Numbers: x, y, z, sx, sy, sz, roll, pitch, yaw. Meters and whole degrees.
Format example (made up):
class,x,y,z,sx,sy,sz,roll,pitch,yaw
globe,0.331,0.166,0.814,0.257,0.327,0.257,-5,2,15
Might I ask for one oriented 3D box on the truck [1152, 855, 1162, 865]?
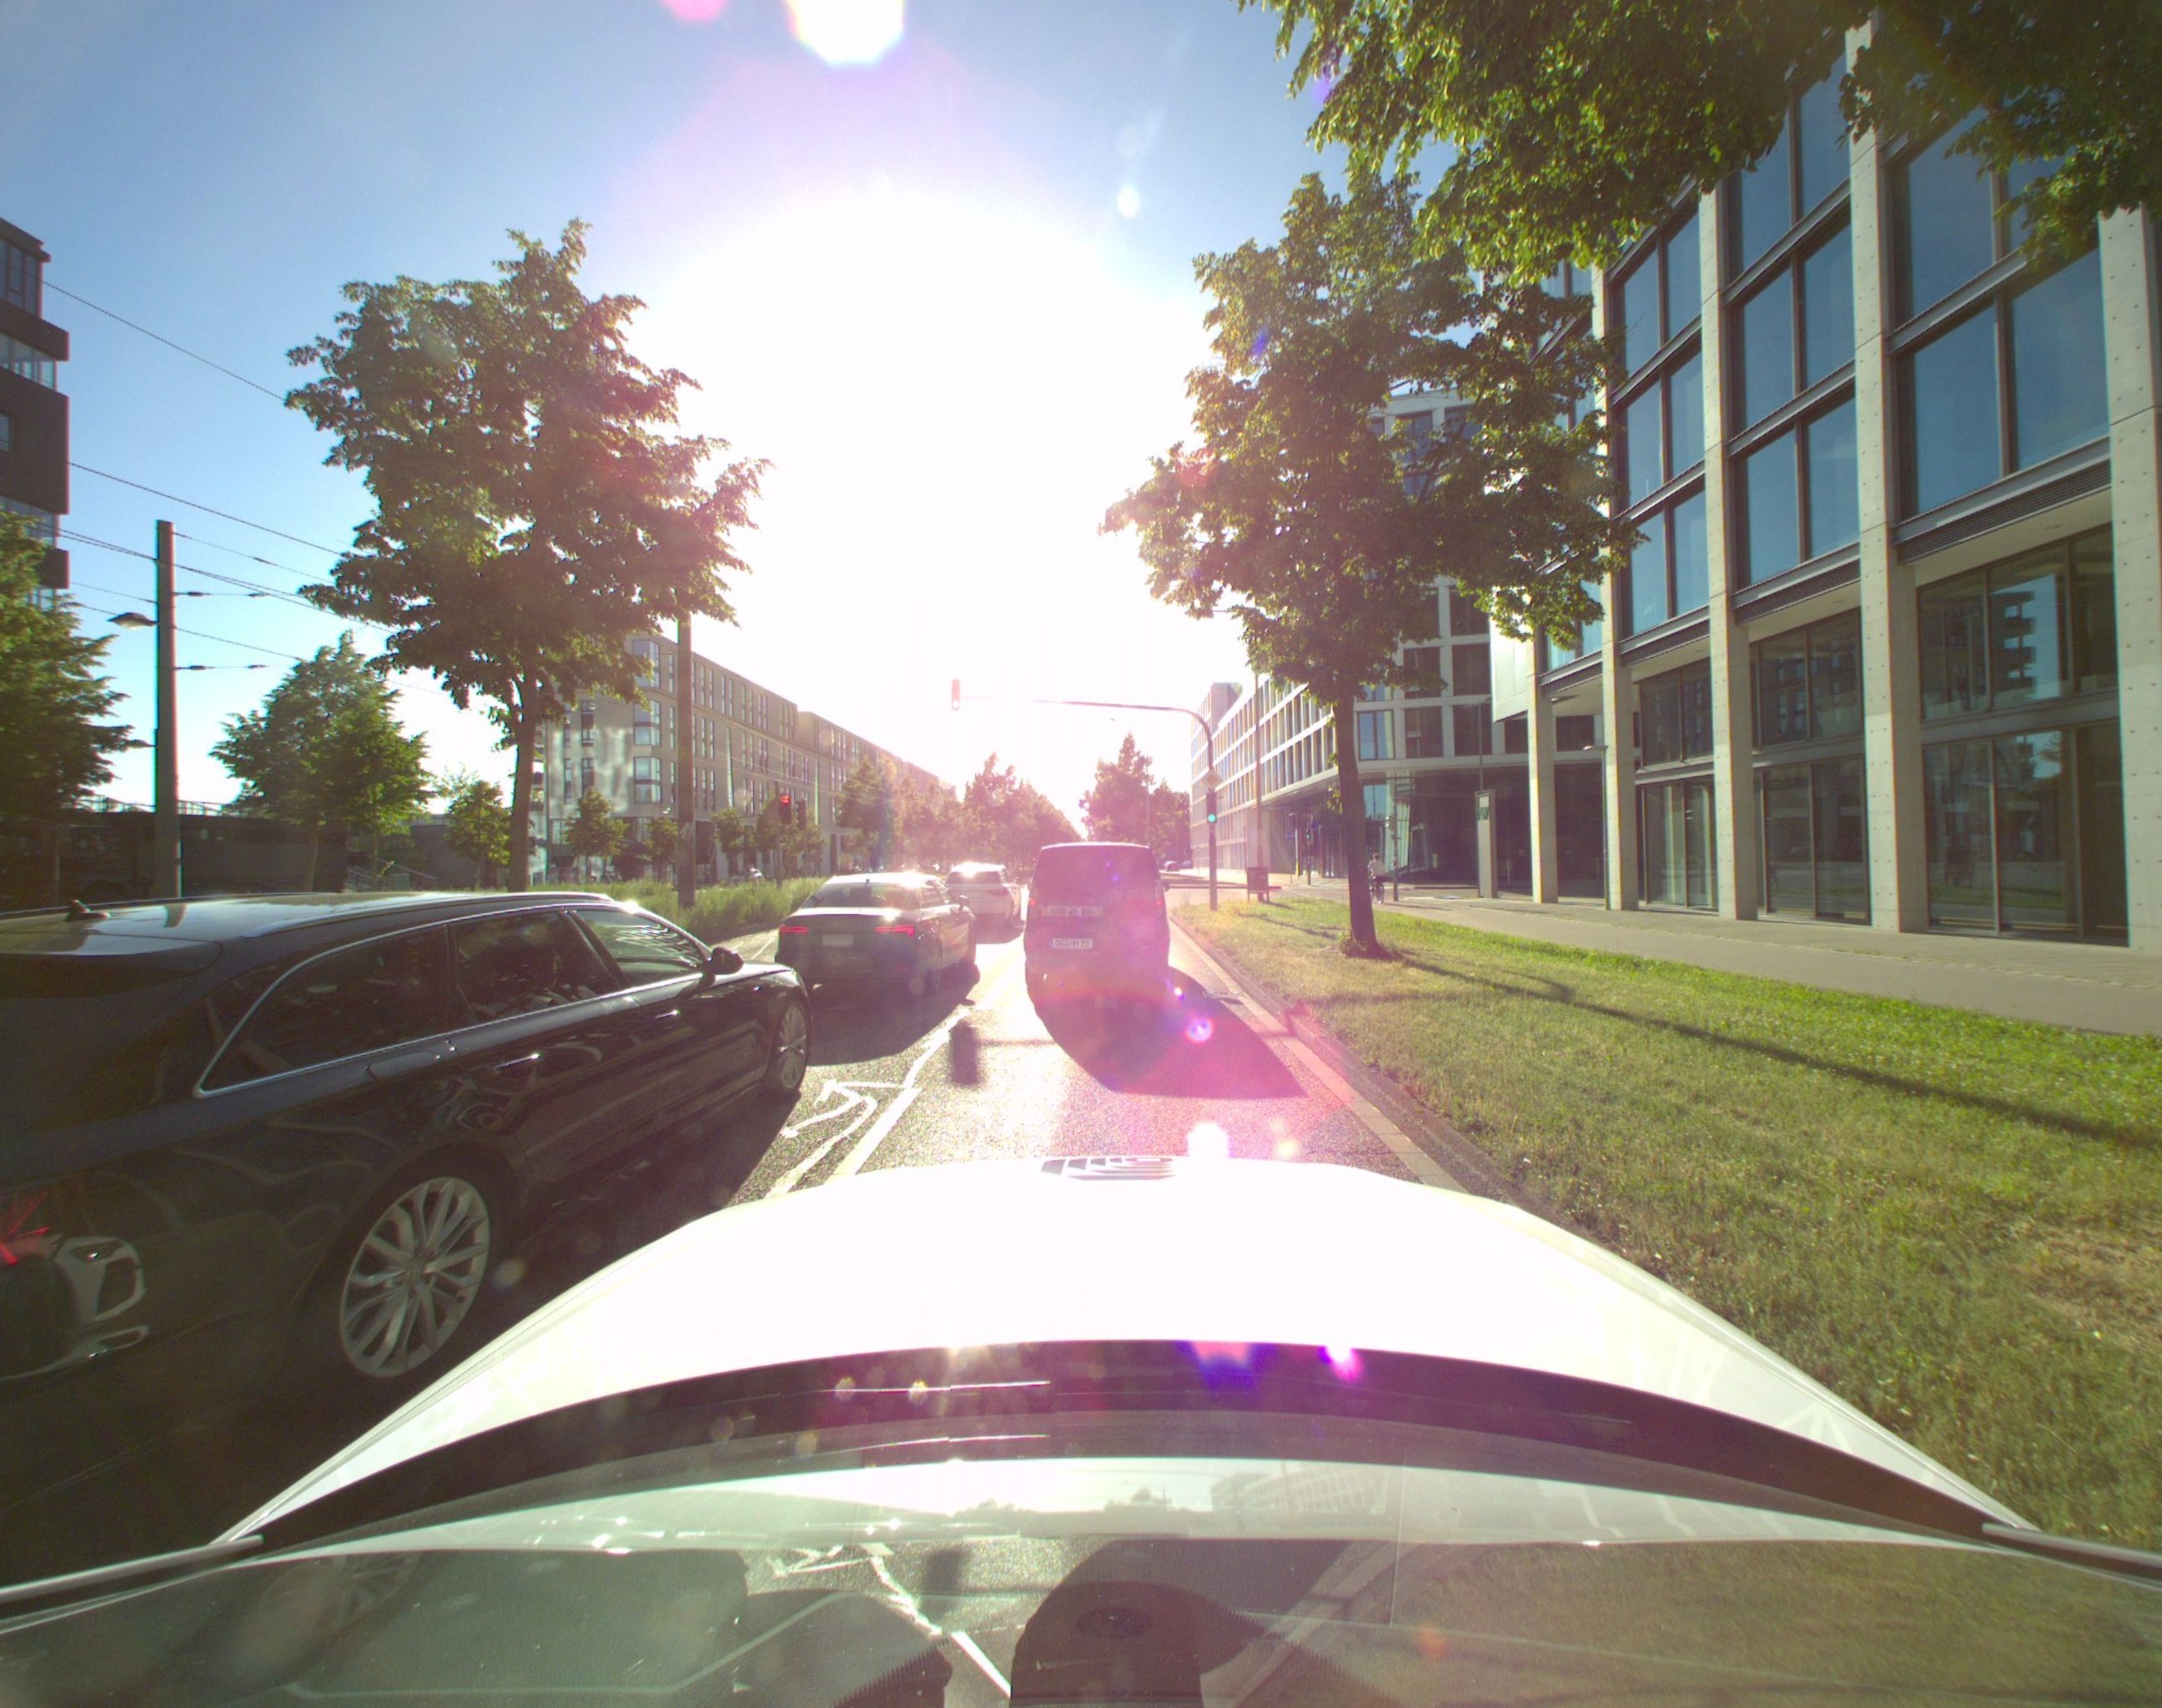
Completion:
class,x,y,z,sx,sy,sz,roll,pitch,yaw
truck,18.364,1.442,196.645,1.825,2.501,5.933,-1,-1,1

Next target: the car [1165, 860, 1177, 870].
class,x,y,z,sx,sy,sz,roll,pitch,yaw
car,14.452,1.799,131.040,1.811,1.532,3.442,-1,-1,5

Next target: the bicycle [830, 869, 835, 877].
class,x,y,z,sx,sy,sz,roll,pitch,yaw
bicycle,-36.001,2.790,117.991,0.528,1.111,1.632,0,-1,-9

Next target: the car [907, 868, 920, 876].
class,x,y,z,sx,sy,sz,roll,pitch,yaw
car,-30.490,3.244,148.480,1.574,1.342,3.713,-1,-1,1

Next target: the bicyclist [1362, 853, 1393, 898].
class,x,y,z,sx,sy,sz,roll,pitch,yaw
bicyclist,10.465,0.754,28.787,0.768,1.531,0.850,-2,-1,1

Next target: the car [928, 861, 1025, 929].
class,x,y,z,sx,sy,sz,roll,pitch,yaw
car,-2.404,0.899,19.688,1.802,1.434,4.111,-1,0,-1

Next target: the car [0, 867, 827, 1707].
class,x,y,z,sx,sy,sz,roll,pitch,yaw
car,-2.783,0.827,3.551,1.801,1.457,4.509,-1,0,2

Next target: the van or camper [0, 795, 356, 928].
class,x,y,z,sx,sy,sz,roll,pitch,yaw
van or camper,-33.579,0.305,30.902,2.743,4.192,10.233,-1,-1,2

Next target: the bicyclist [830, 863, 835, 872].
class,x,y,z,sx,sy,sz,roll,pitch,yaw
bicyclist,-35.992,2.001,117.995,0.578,1.293,0.703,0,-1,-9

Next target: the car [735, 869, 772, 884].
class,x,y,z,sx,sy,sz,roll,pitch,yaw
car,-31.099,2.140,77.375,1.574,1.342,4.472,-1,-1,1

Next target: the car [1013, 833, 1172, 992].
class,x,y,z,sx,sy,sz,roll,pitch,yaw
car,0.225,0.686,11.404,1.801,1.794,4.115,-1,0,2

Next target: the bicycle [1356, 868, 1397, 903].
class,x,y,z,sx,sy,sz,roll,pitch,yaw
bicycle,10.452,1.092,28.884,0.739,1.174,1.962,-3,-2,2

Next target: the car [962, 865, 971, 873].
class,x,y,z,sx,sy,sz,roll,pitch,yaw
car,-27.838,3.606,198.143,1.723,2.013,3.999,-1,0,-1

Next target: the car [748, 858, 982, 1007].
class,x,y,z,sx,sy,sz,roll,pitch,yaw
car,-2.518,0.837,10.605,1.801,1.527,4.114,-1,0,2

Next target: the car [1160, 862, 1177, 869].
class,x,y,z,sx,sy,sz,roll,pitch,yaw
car,17.576,2.276,163.696,3.379,1.358,1.474,-1,-1,8

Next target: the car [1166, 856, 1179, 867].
class,x,y,z,sx,sy,sz,roll,pitch,yaw
car,14.155,1.167,125.847,1.750,1.611,3.906,-1,0,3
